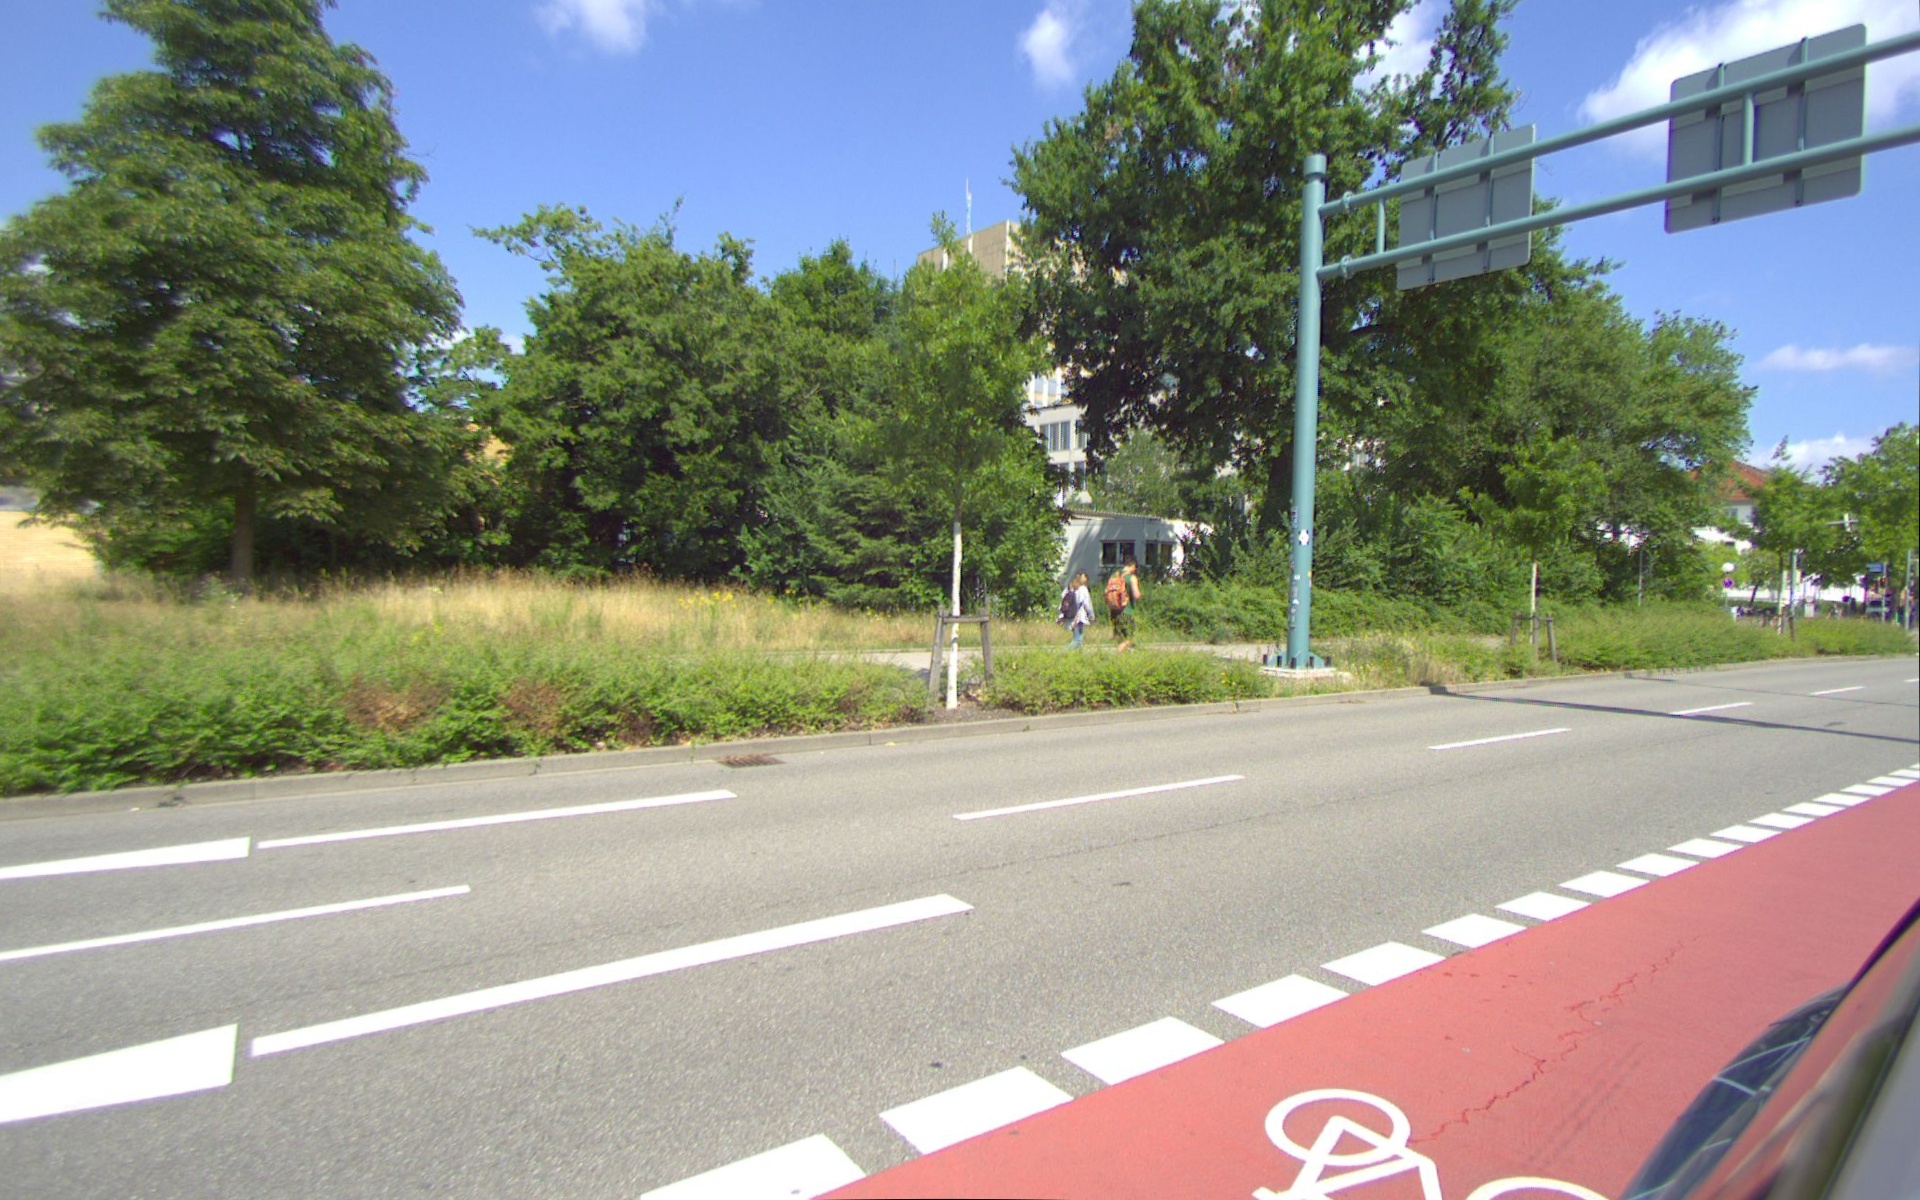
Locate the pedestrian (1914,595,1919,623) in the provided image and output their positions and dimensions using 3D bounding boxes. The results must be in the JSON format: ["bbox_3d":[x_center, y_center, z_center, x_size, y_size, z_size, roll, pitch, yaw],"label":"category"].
[{"bbox_3d":[59.440,0.562,62.343,0.626,1.670,0.743,1,1,-27],"label":"pedestrian"}]

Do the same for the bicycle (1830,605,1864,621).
[{"bbox_3d":[49.249,0.700,56.203,0.609,0.843,1.513,2,1,4],"label":"bicycle"}]

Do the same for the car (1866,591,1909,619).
[{"bbox_3d":[72.917,0.400,79.574,4.818,2.039,1.997,1,1,-42],"label":"car"}]

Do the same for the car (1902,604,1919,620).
[{"bbox_3d":[90.140,1.136,93.891,3.988,1.442,1.730,3,2,44],"label":"car"}]

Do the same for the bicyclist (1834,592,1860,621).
[{"bbox_3d":[49.260,0.360,56.192,0.601,1.526,0.918,2,1,4],"label":"bicyclist"}]

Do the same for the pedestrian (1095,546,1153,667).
[{"bbox_3d":[2.544,0.094,15.753,0.626,1.824,0.569,1,1,-35],"label":"pedestrian"}]

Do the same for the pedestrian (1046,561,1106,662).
[{"bbox_3d":[1.880,0.178,16.400,0.695,1.600,0.625,1,1,-35],"label":"pedestrian"}]

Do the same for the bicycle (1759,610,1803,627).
[{"bbox_3d":[42.467,0.945,52.343,1.750,0.785,0.438,2,1,43],"label":"bicycle"}]

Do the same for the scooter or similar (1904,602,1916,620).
[{"bbox_3d":[62.205,0.740,66.268,1.146,1.143,0.348,1,1,-37],"label":"scooter or similar"}]

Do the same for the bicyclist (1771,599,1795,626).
[{"bbox_3d":[42.529,0.655,52.292,0.928,1.366,0.438,2,1,42],"label":"bicyclist"}]

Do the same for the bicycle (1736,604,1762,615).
[{"bbox_3d":[67.168,0.798,86.195,0.616,0.800,1.669,1,1,-44],"label":"bicycle"}]

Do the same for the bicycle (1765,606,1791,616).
[{"bbox_3d":[69.008,0.897,85.381,0.616,0.743,1.670,1,1,-42],"label":"bicycle"}]
